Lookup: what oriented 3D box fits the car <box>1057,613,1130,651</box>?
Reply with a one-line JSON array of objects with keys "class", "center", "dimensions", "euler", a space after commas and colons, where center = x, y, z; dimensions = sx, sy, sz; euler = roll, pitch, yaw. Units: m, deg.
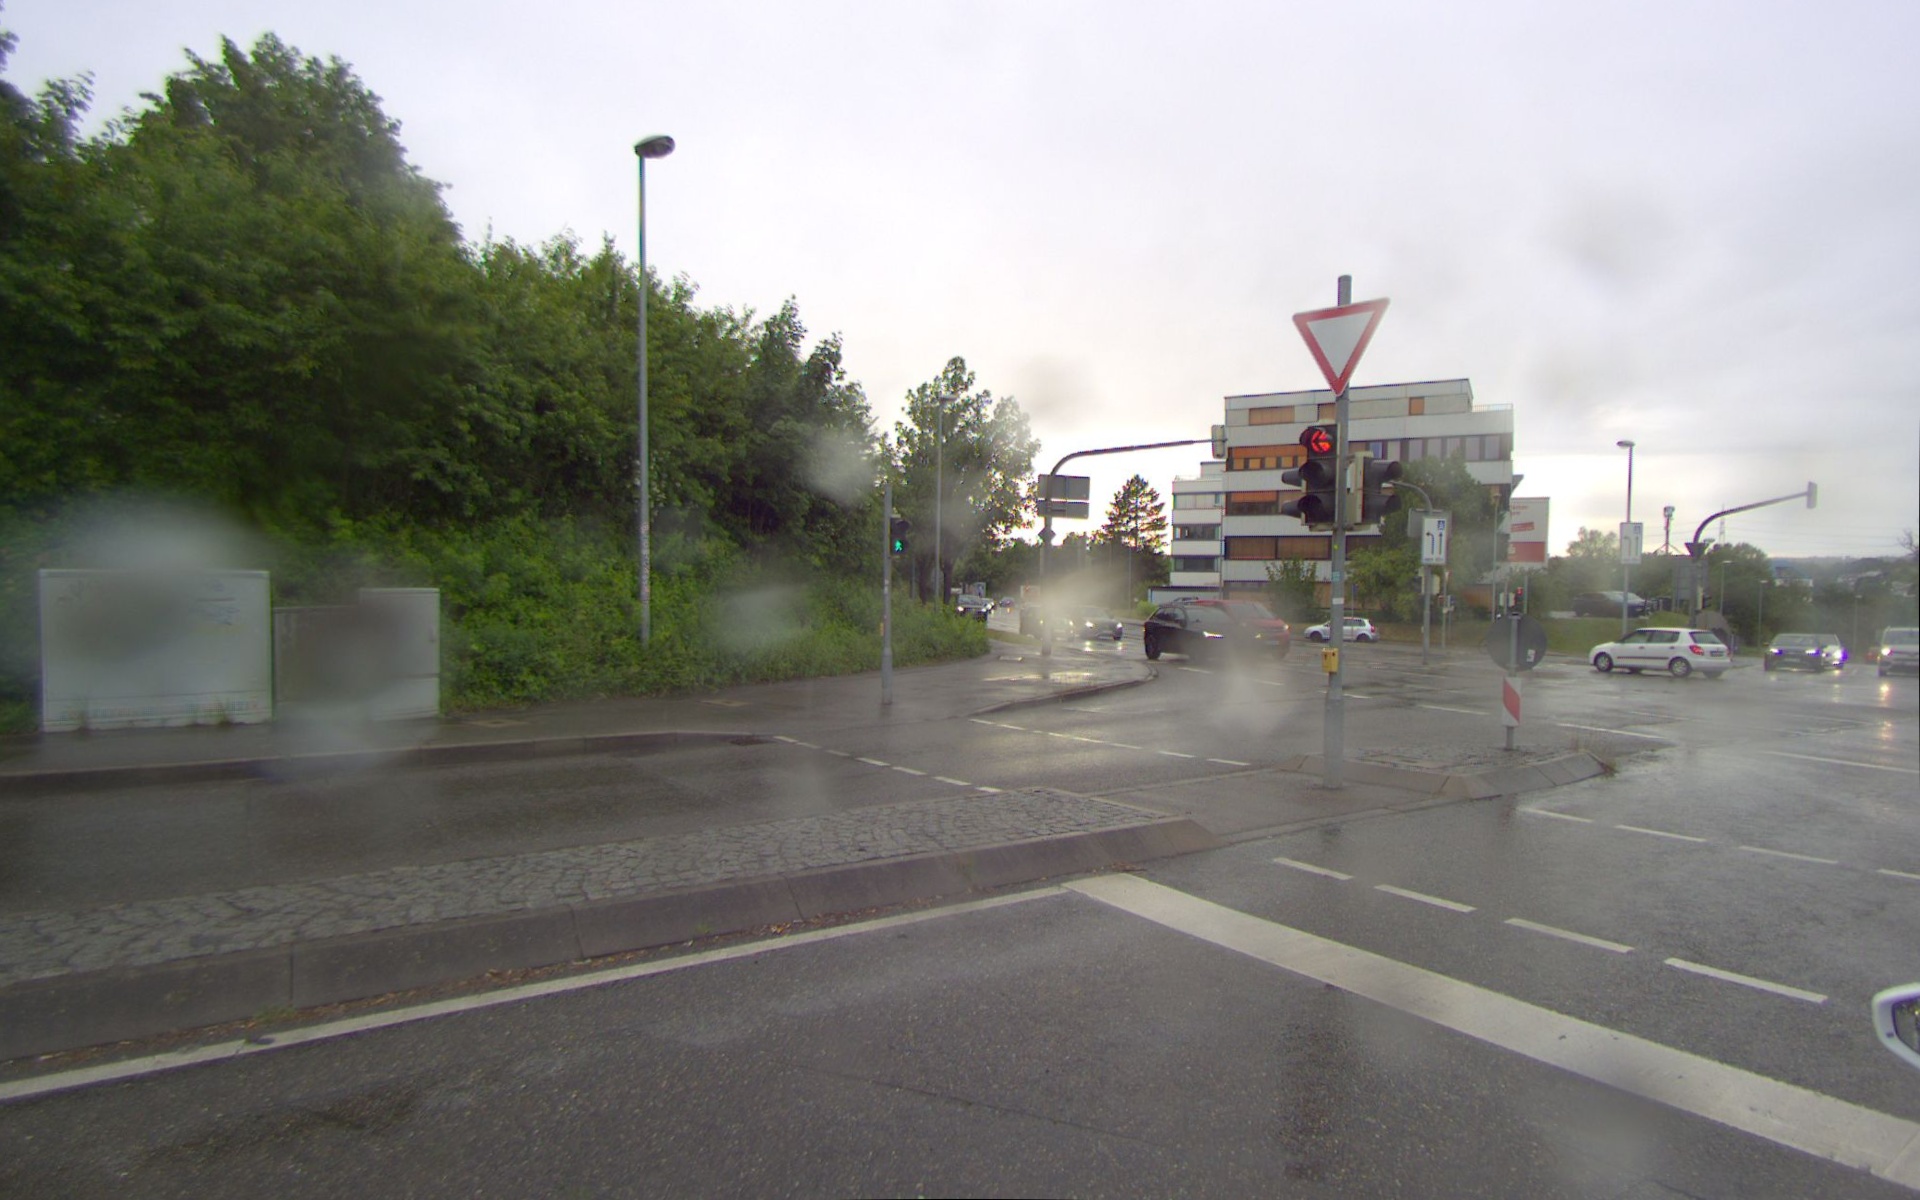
[{"class": "car", "center": [6.027, 1.422, 46.015], "dimensions": [1.964, 1.496, 4.665], "euler": [1, 1, -11]}]

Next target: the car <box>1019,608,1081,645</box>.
[{"class": "car", "center": [3.763, 1.076, 42.520], "dimensions": [1.652, 1.405, 3.452], "euler": [1, 1, -12]}]

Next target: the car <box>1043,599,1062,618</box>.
[{"class": "car", "center": [10.301, 0.939, 112.023], "dimensions": [1.960, 2.041, 5.014], "euler": [1, 1, 4]}]

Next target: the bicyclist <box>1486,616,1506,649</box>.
[{"class": "bicyclist", "center": [24.435, 1.461, 45.782], "dimensions": [0.597, 1.465, 0.539], "euler": [1, 1, -36]}]

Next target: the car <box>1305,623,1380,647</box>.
[{"class": "car", "center": [20.472, 1.840, 53.777], "dimensions": [3.456, 1.120, 1.815], "euler": [2, 1, 34]}]

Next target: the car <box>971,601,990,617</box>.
[{"class": "car", "center": [2.047, 0.878, 101.130], "dimensions": [1.809, 1.534, 3.999], "euler": [1, 0, 0]}]

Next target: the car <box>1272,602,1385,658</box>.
[{"class": "car", "center": [13.651, 1.076, 37.477], "dimensions": [1.966, 1.865, 4.143], "euler": [1, 1, -14]}]

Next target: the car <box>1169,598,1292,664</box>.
[{"class": "car", "center": [9.069, 0.986, 34.177], "dimensions": [1.966, 2.040, 4.773], "euler": [1, 0, -14]}]

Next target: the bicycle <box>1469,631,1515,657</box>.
[{"class": "bicycle", "center": [24.313, 1.997, 45.943], "dimensions": [0.604, 1.066, 1.762], "euler": [1, 1, -35]}]

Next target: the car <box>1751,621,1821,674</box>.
[{"class": "car", "center": [33.335, 1.858, 40.514], "dimensions": [1.971, 1.920, 3.979], "euler": [2, 1, 42]}]

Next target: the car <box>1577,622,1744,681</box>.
[{"class": "car", "center": [22.208, 1.586, 32.020], "dimensions": [1.927, 1.617, 3.982], "euler": [1, 1, -19]}]

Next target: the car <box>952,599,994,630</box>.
[{"class": "car", "center": [0.772, 0.857, 61.659], "dimensions": [1.963, 1.725, 4.605], "euler": [1, 1, -7]}]

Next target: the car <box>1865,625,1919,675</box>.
[{"class": "car", "center": [34.813, 1.811, 36.965], "dimensions": [3.974, 1.639, 1.973], "euler": [1, 1, -45]}]

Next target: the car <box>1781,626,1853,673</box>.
[{"class": "car", "center": [38.946, 2.214, 45.644], "dimensions": [3.970, 1.920, 1.975], "euler": [1, 1, -42]}]

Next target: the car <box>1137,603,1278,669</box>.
[{"class": "car", "center": [7.019, 0.982, 29.051], "dimensions": [2.000, 1.701, 4.619], "euler": [1, 0, -14]}]
